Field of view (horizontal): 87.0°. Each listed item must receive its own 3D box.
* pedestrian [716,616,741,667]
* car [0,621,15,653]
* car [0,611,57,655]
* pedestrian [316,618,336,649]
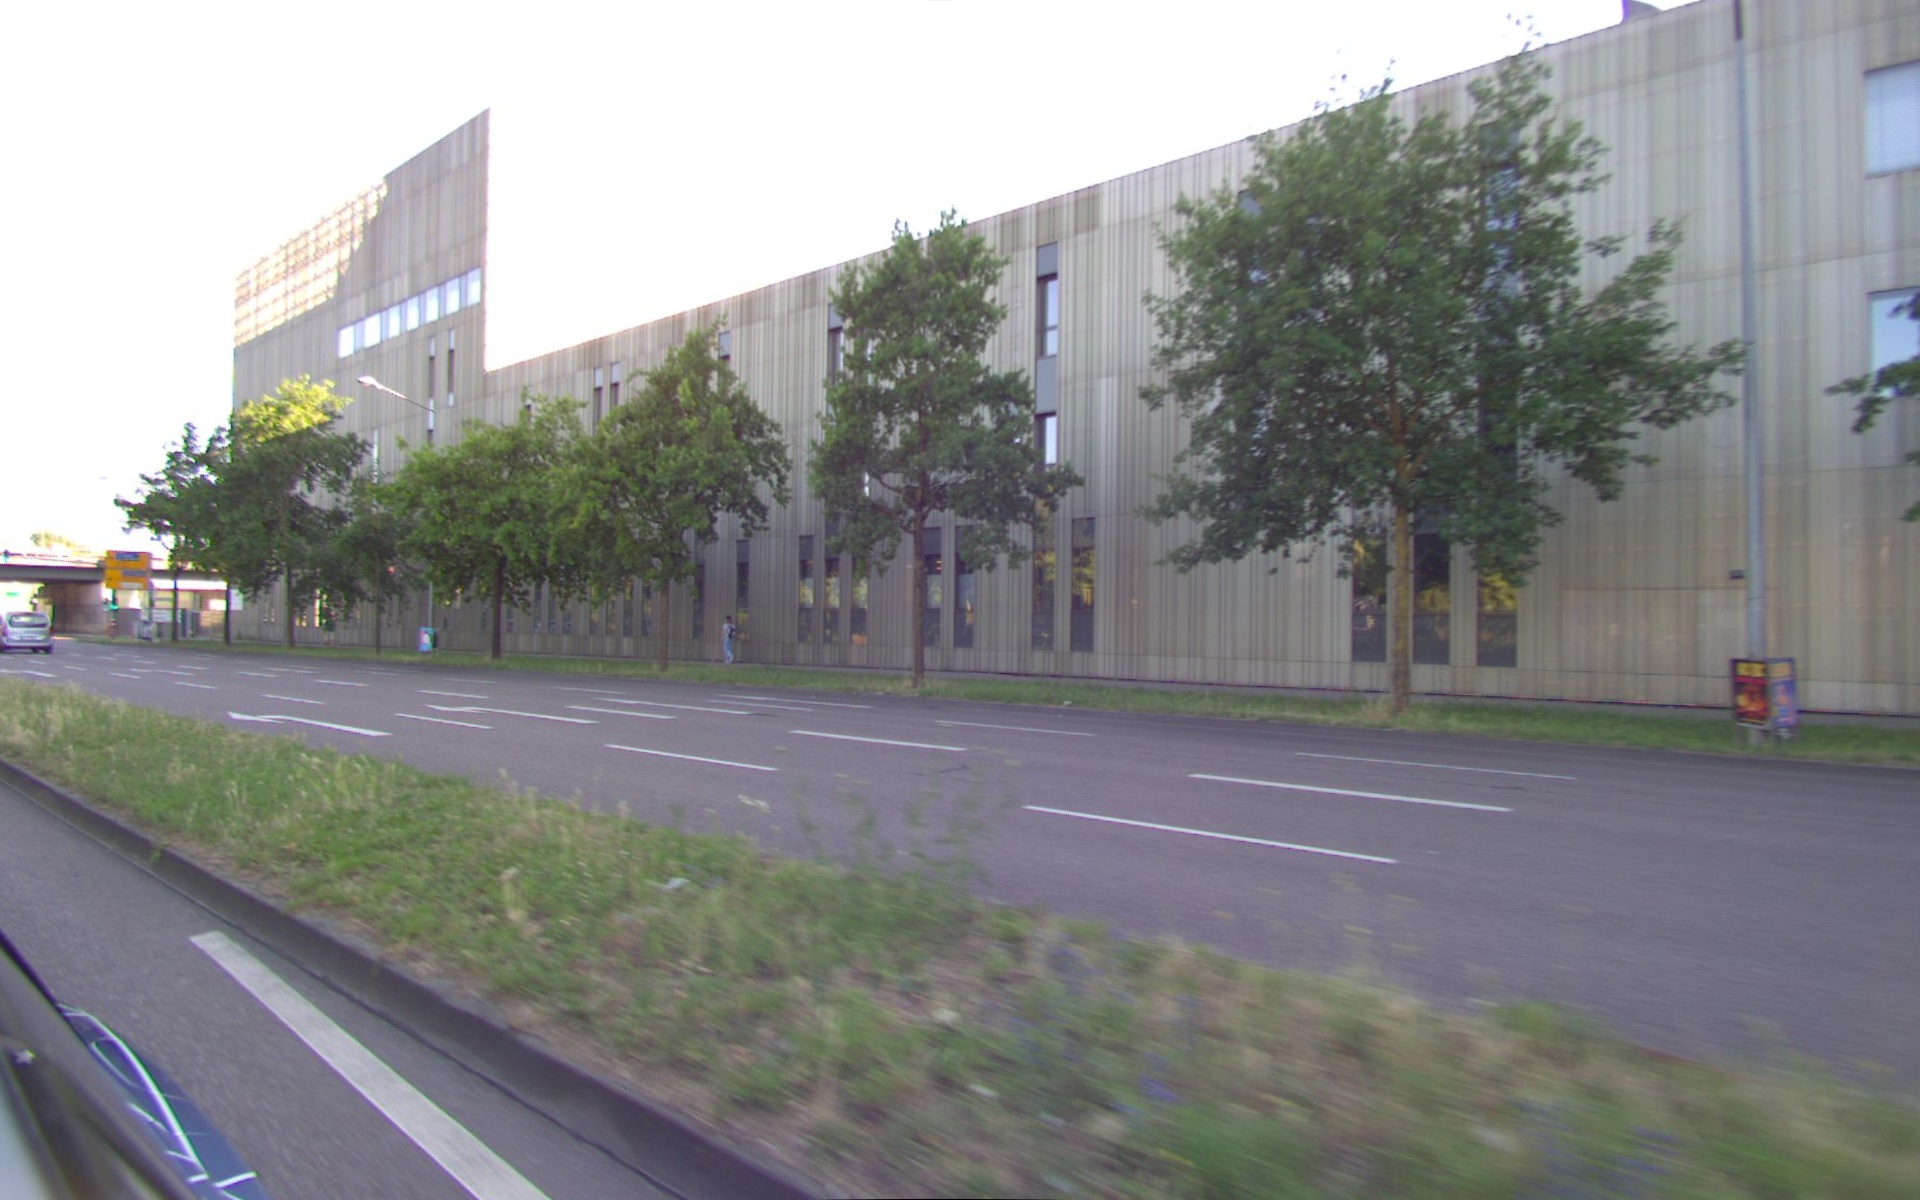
[{"bbox_3d":[-8.288,1.474,36.184,0.648,1.781,0.596,-1,-2,40],"label":"pedestrian"},{"bbox_3d":[-47.526,1.753,49.146,4.287,1.530,1.905,-1,-3,41],"label":"car"},{"bbox_3d":[-40.824,1.427,43.805,4.398,1.830,1.973,-1,-3,41],"label":"car"},{"bbox_3d":[-34.061,1.801,54.402,0.724,1.641,0.690,-1,-2,39],"label":"pedestrian"}]
